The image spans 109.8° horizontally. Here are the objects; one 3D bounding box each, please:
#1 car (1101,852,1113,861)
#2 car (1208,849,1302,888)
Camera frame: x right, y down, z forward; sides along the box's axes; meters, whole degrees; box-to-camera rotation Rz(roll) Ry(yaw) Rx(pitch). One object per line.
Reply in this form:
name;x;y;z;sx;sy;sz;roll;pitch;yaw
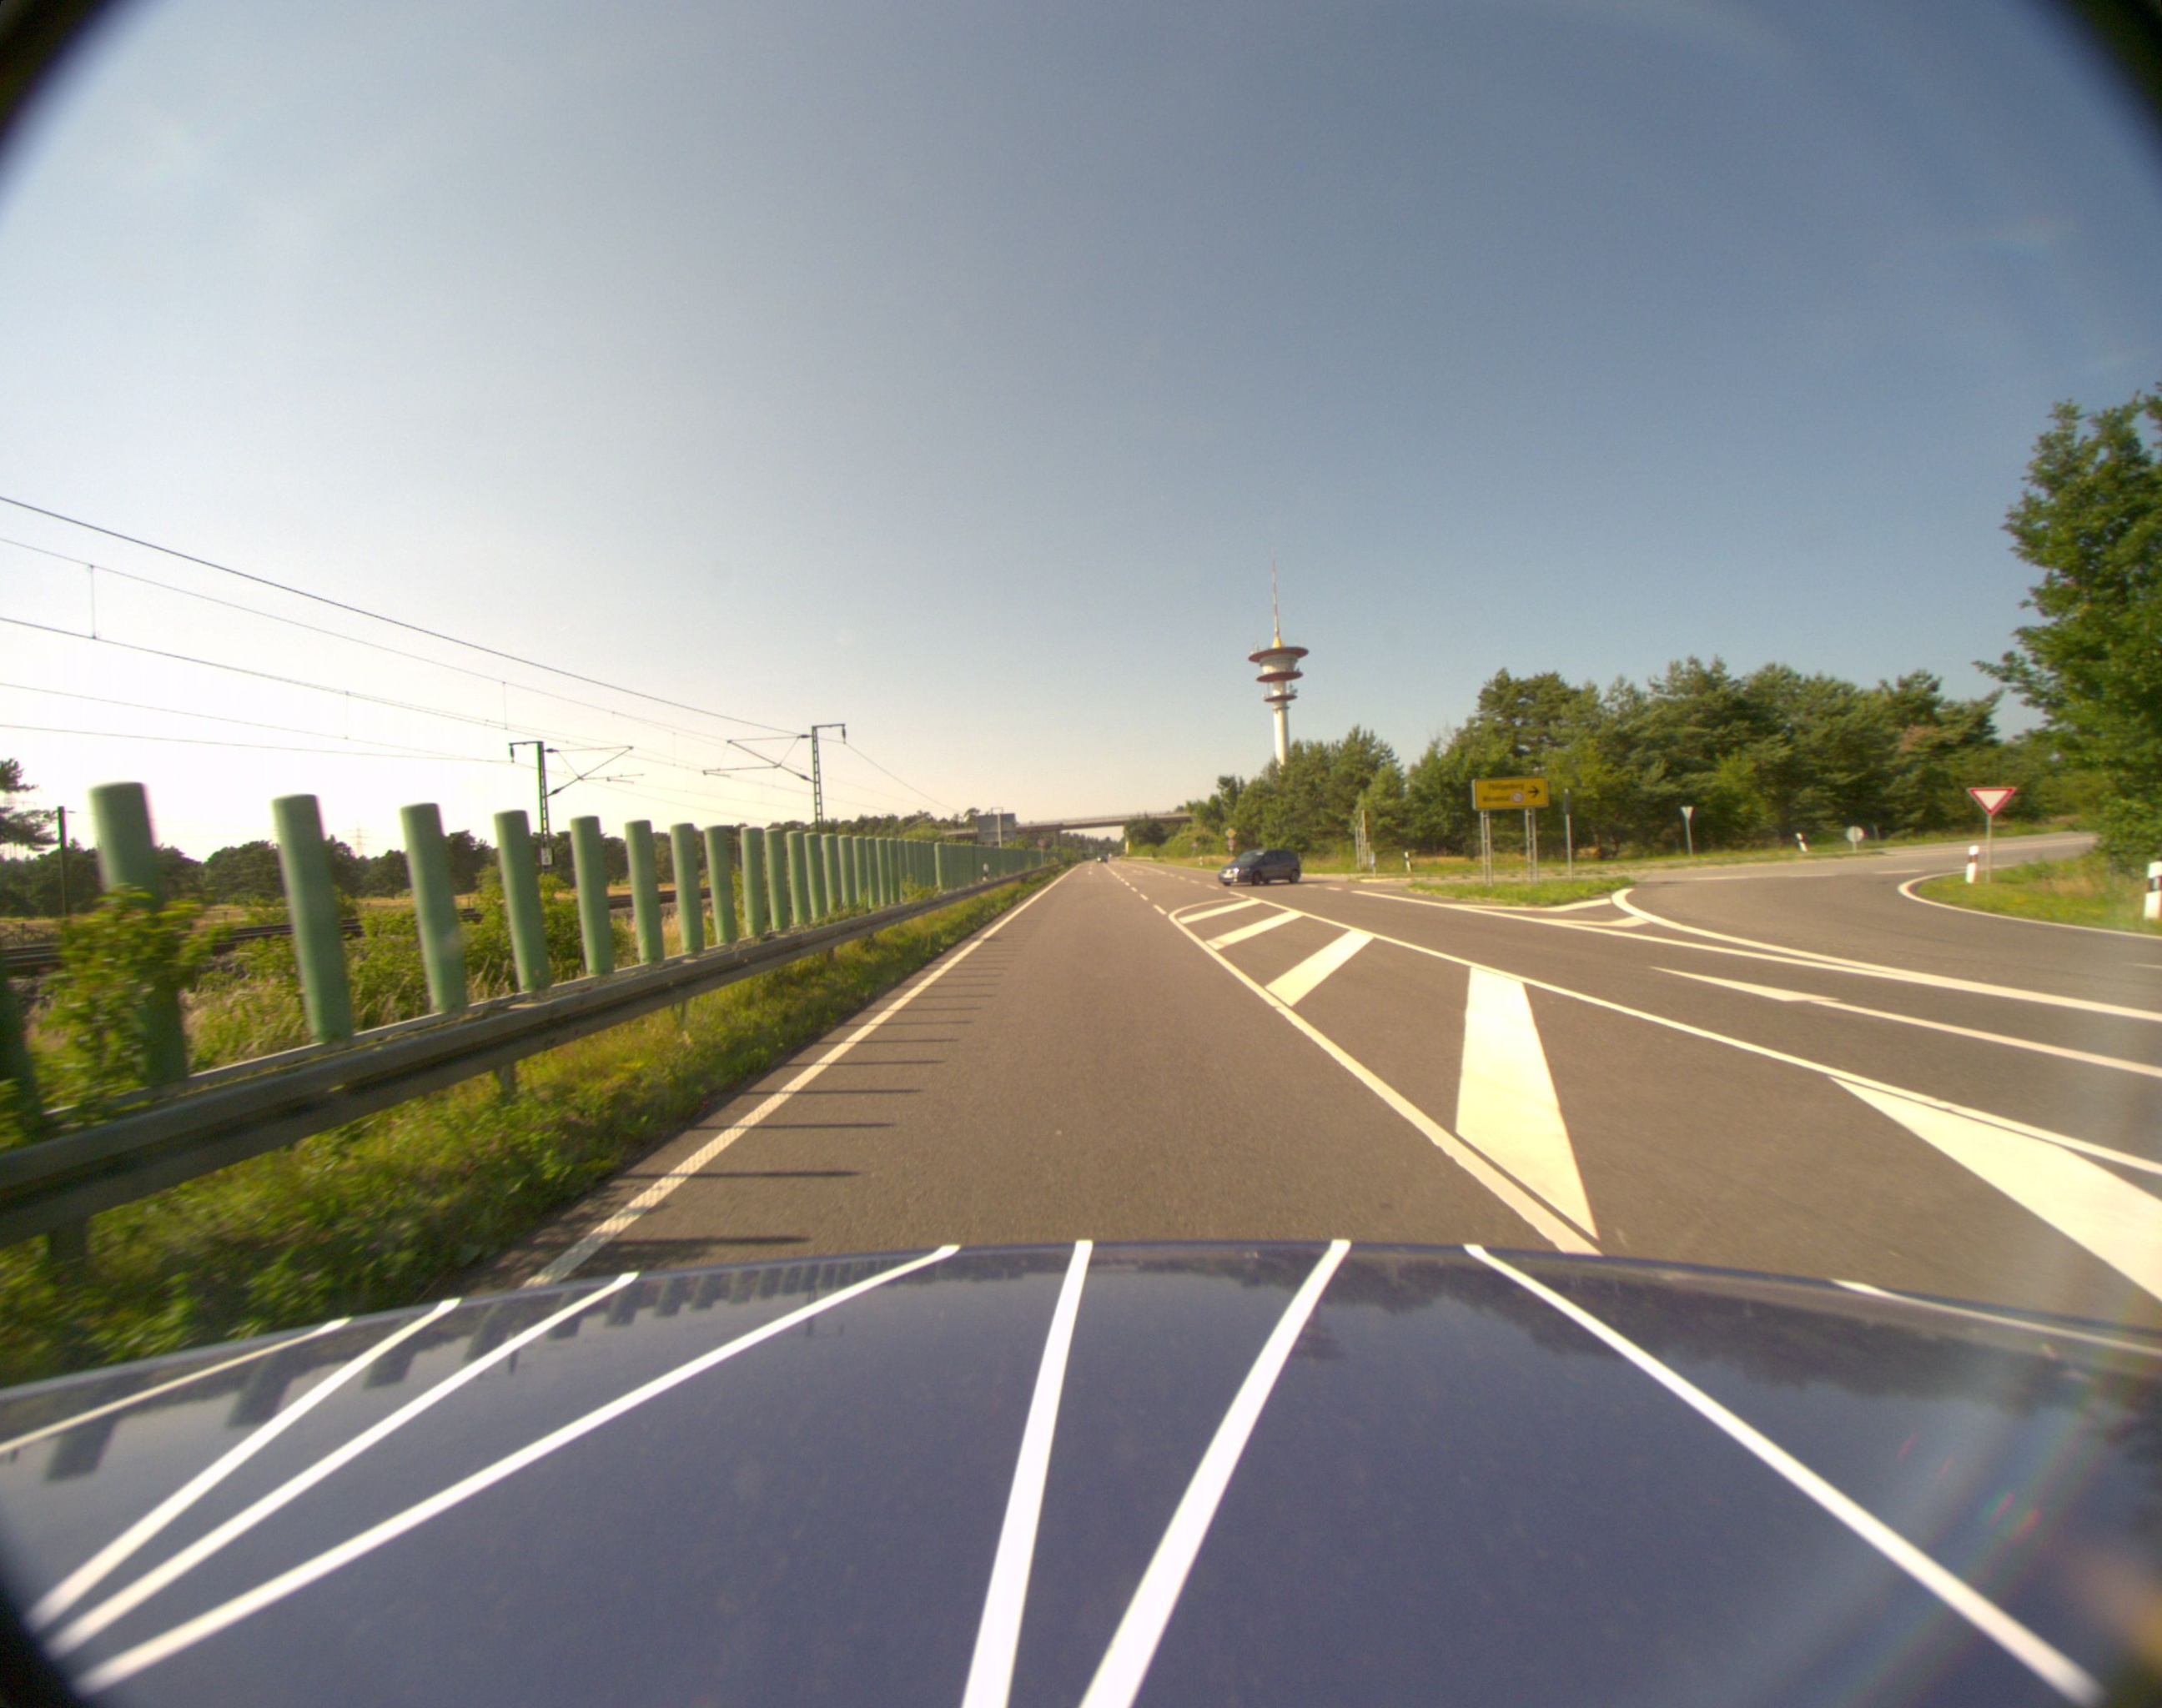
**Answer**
car;4.552;0.396;131.973;1.998;1.533;4.332;-1;0;2
car;7.711;0.610;33.542;4.083;1.533;1.865;-2;1;-37
